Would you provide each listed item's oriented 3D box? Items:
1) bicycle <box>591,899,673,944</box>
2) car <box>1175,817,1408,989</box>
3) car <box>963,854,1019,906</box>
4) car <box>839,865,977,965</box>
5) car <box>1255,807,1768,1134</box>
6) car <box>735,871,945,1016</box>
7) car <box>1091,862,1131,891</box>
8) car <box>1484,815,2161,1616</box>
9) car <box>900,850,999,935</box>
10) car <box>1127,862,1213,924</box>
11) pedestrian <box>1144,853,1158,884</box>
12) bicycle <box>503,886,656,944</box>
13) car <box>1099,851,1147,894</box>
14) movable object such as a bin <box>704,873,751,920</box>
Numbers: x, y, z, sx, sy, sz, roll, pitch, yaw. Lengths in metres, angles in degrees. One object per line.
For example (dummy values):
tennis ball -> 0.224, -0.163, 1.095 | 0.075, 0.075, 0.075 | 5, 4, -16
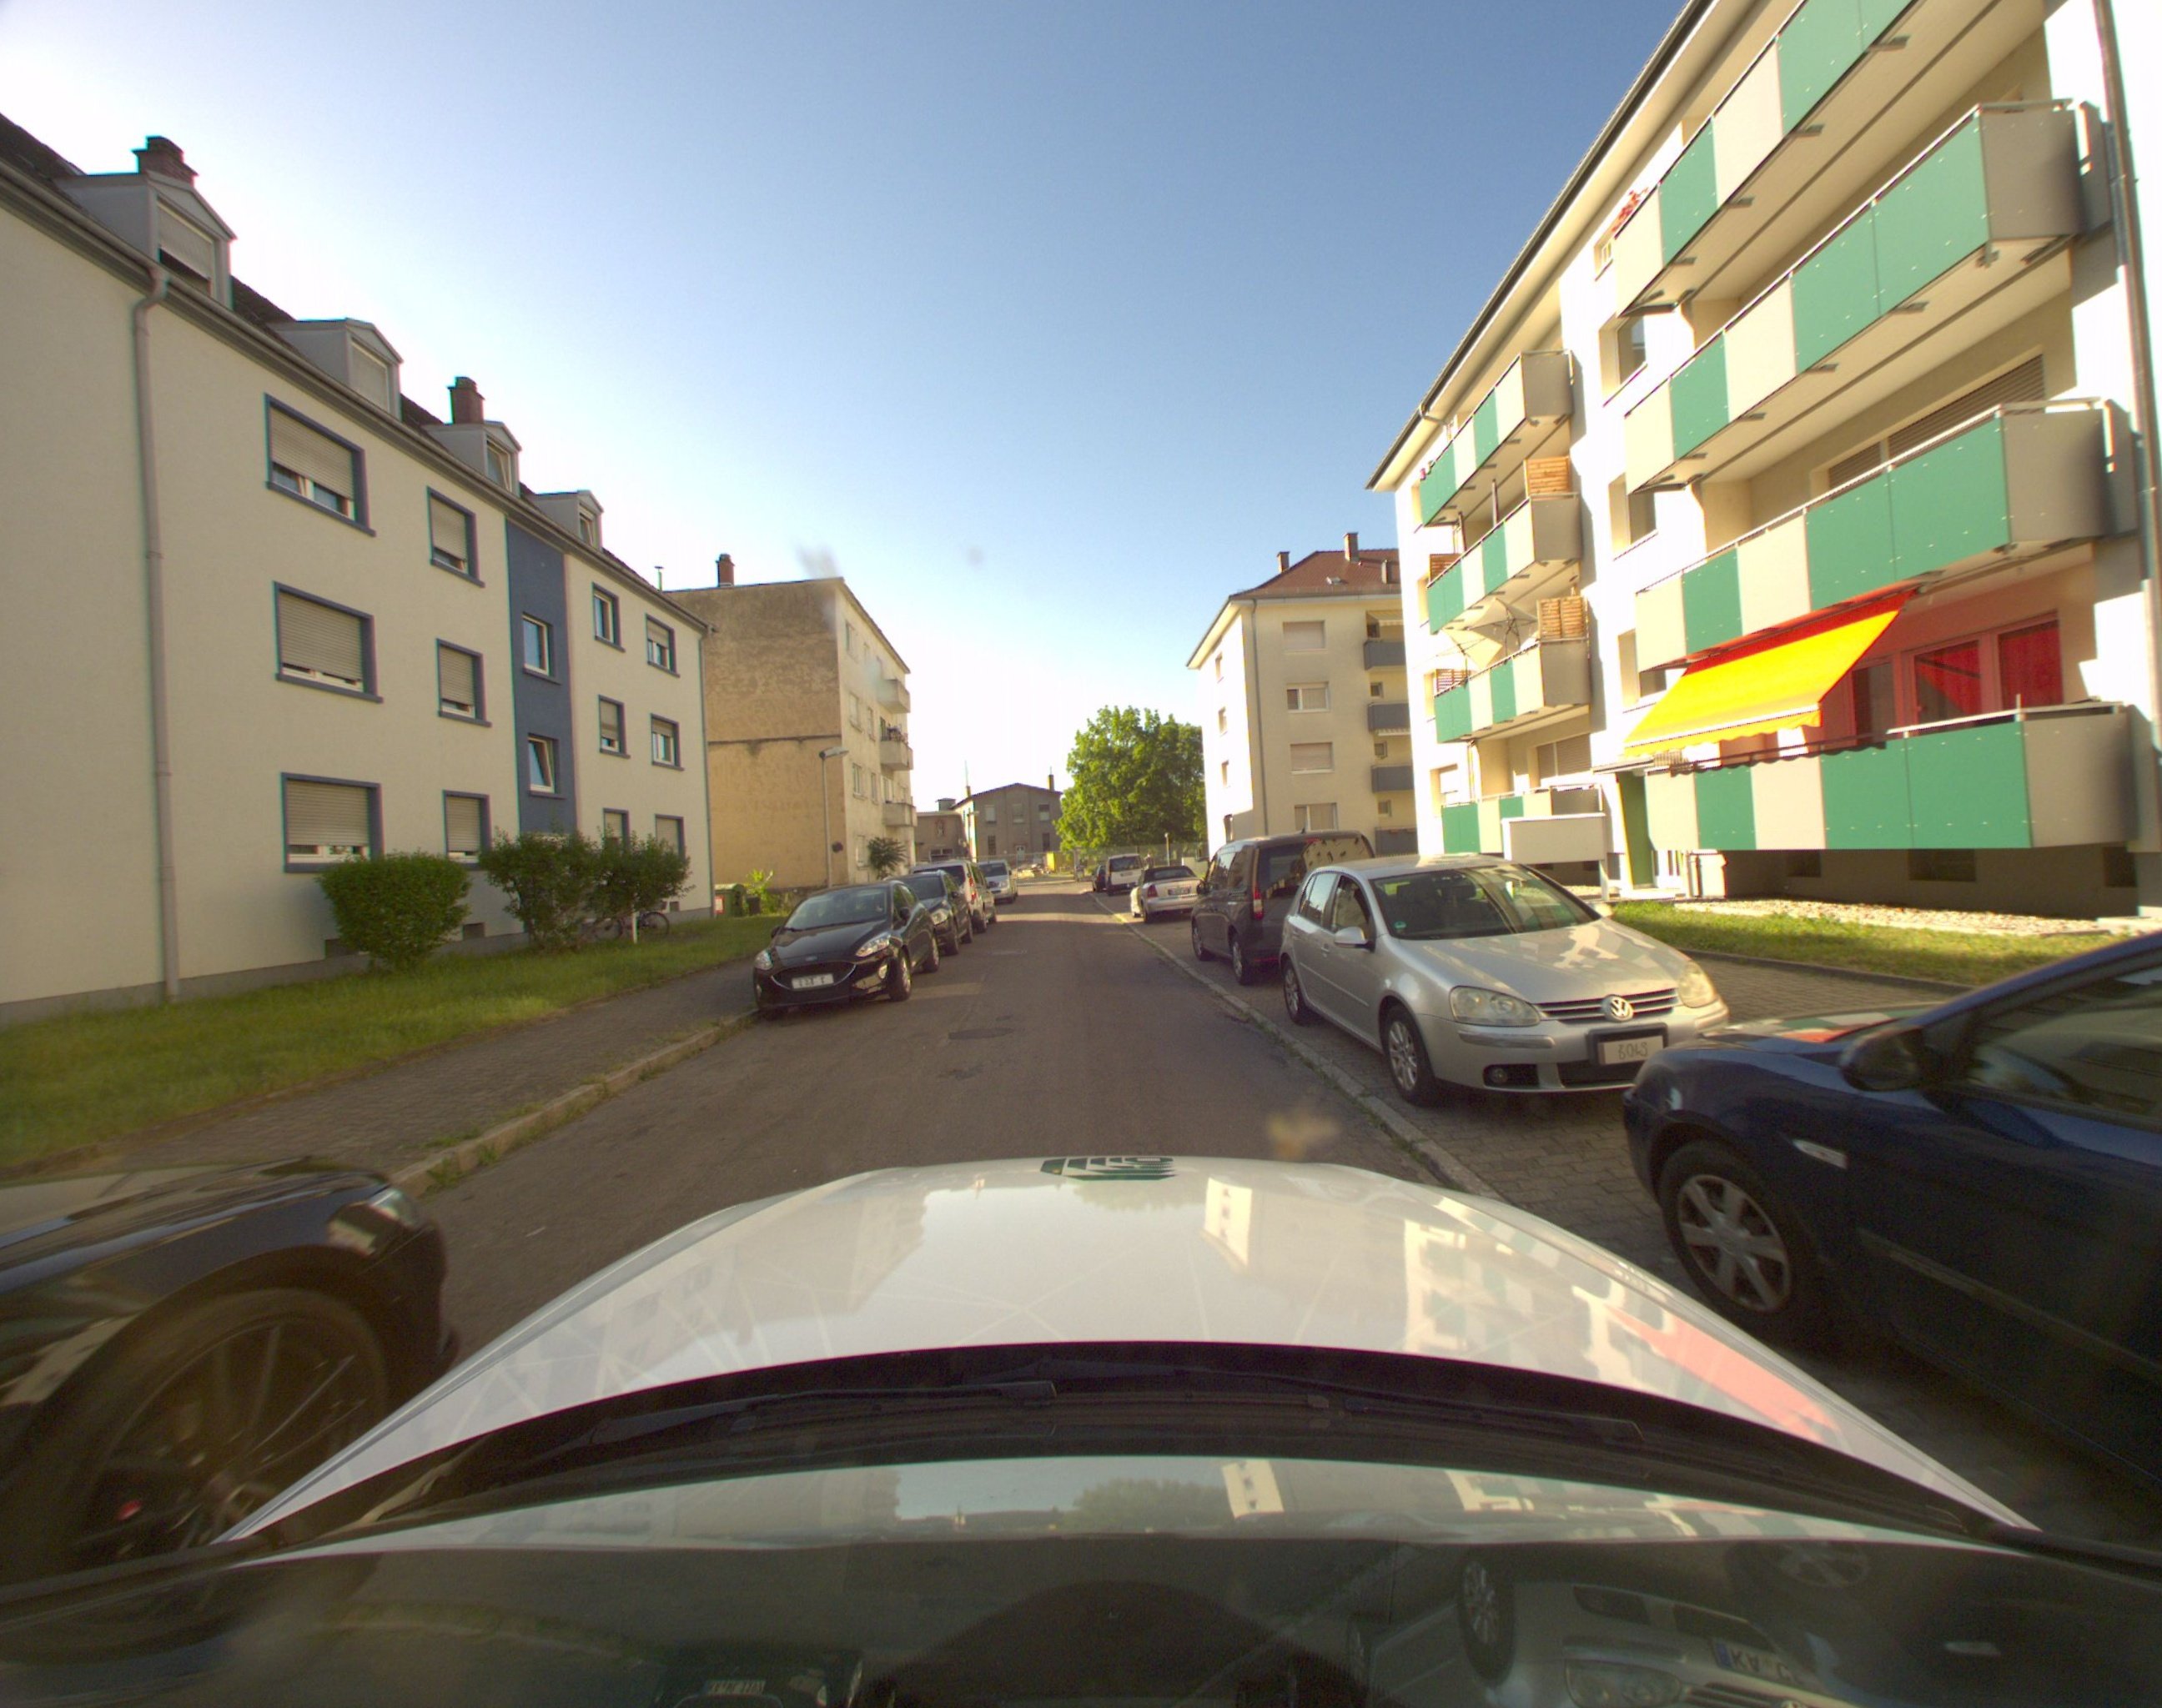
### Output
bicycle -> -10.995, 1.652, 19.953 | 1.642, 0.936, 0.547 | -5, -1, 0
car -> 2.679, 0.625, 11.535 | 1.892, 1.855, 4.338 | -3, -2, -3
car -> -3.959, 1.159, 36.599 | 1.989, 2.013, 4.450 | -5, -1, -2
car -> -3.145, 1.066, 15.651 | 1.828, 1.515, 3.996 | -5, -1, -3
car -> 2.689, 0.636, 6.276 | 1.677, 1.588, 4.010 | -4, -1, -1
car -> -2.963, 1.027, 10.855 | 1.654, 1.443, 3.868 | -5, -1, -2
car -> 1.571, 1.200, 43.601 | 1.761, 1.362, 4.091 | -5, -1, -2
car -> 2.821, 0.636, 1.676 | 1.732, 1.432, 4.355 | -5, -1, 0
car -> -3.284, 0.953, 21.069 | 1.891, 1.855, 4.191 | -3, -2, -2
car -> 2.304, 0.979, 22.060 | 1.712, 1.364, 4.052 | -5, 0, -2
pedestrian -> 4.187, 0.875, 48.811 | 0.650, 1.815, 0.615 | -5, -2, 8
bicycle -> -10.605, 1.274, 17.314 | 2.667, 1.130, 0.771 | 0, -1, -9
car -> 1.914, 0.871, 38.121 | 1.761, 1.739, 4.091 | -5, -1, -2
movable object such as a bin -> -12.694, 1.513, 29.271 | 1.066, 1.539, 1.355 | -5, -1, -5
